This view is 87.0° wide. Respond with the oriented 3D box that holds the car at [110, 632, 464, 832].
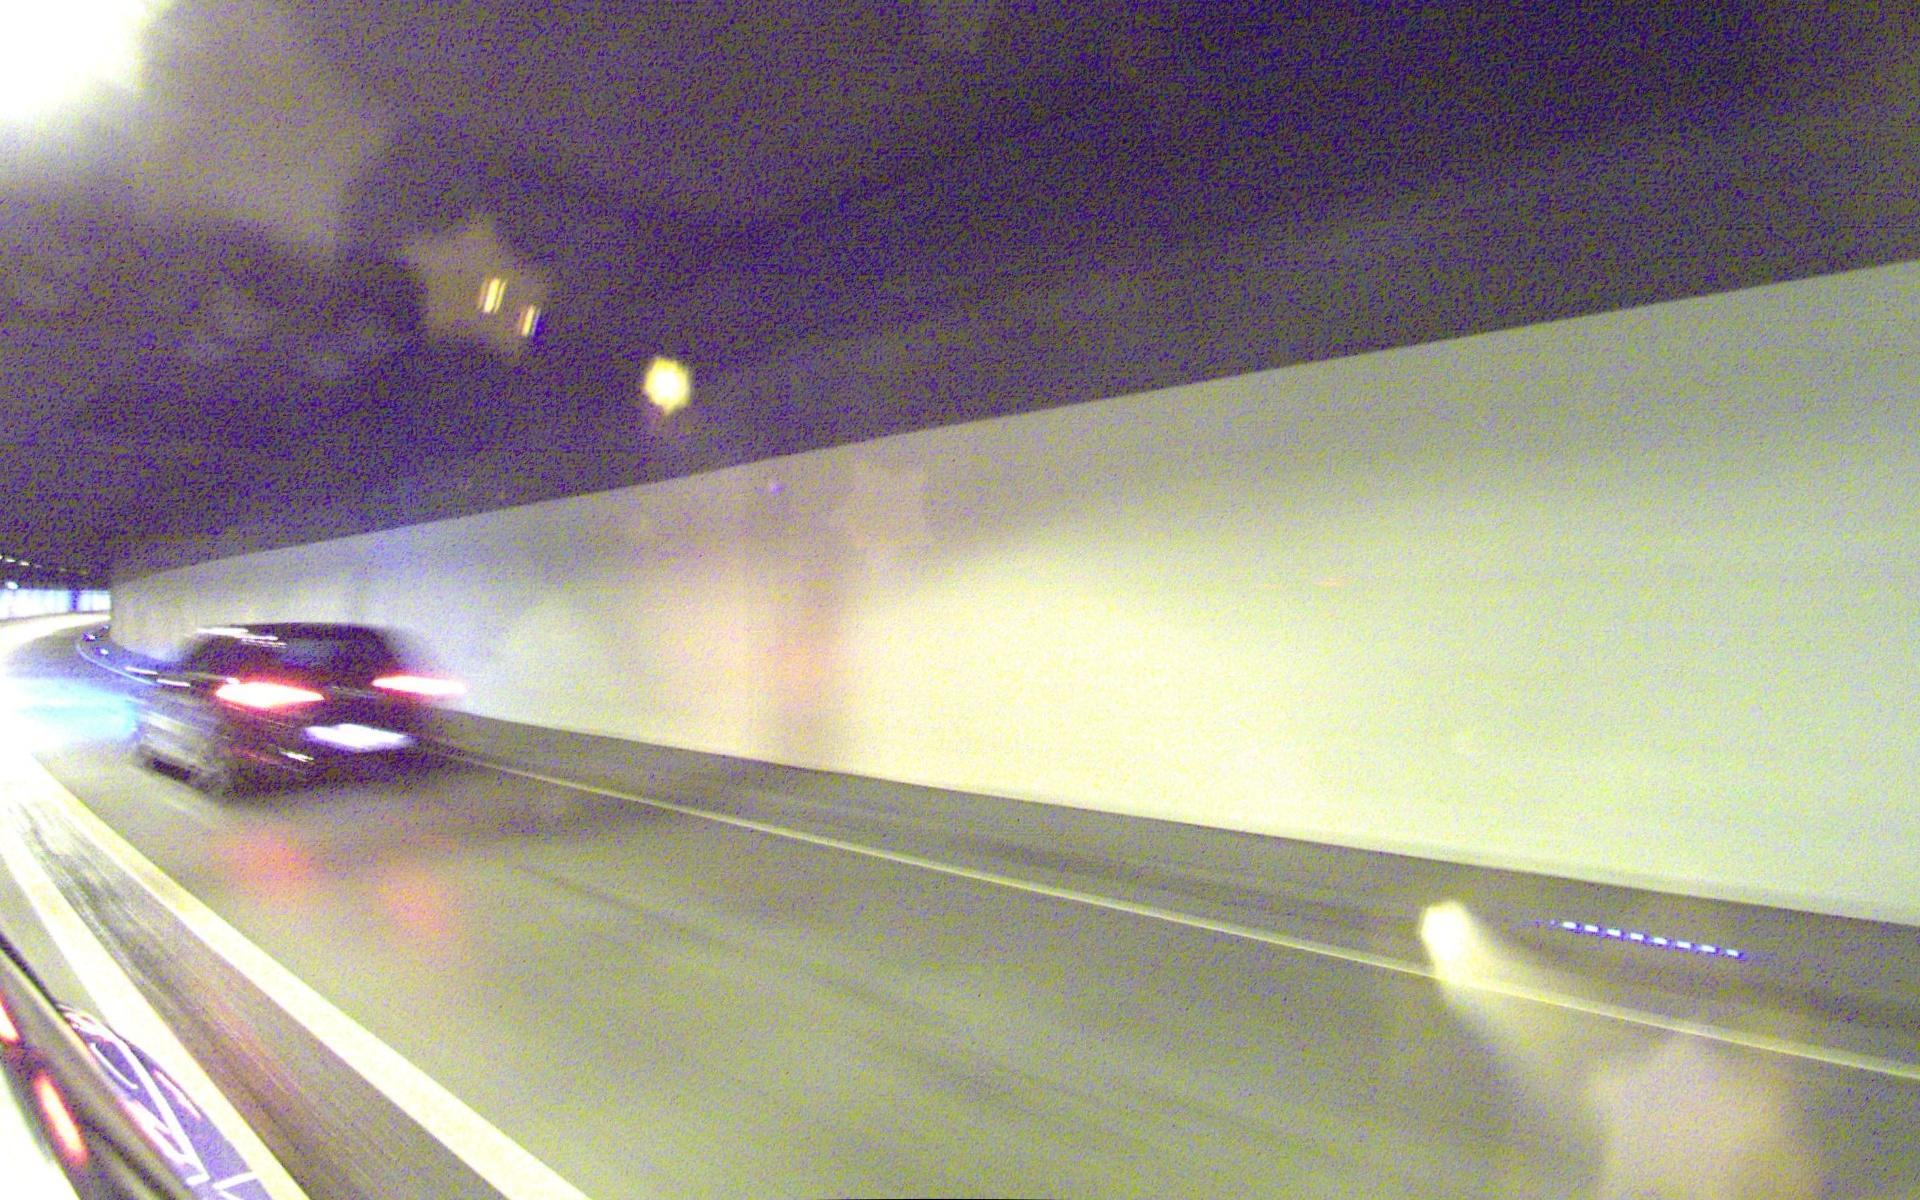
[{"bbox_3d":[-6.317,1.018,9.320,4.115,1.427,1.689,-2,-2,41],"label":"car"}]
